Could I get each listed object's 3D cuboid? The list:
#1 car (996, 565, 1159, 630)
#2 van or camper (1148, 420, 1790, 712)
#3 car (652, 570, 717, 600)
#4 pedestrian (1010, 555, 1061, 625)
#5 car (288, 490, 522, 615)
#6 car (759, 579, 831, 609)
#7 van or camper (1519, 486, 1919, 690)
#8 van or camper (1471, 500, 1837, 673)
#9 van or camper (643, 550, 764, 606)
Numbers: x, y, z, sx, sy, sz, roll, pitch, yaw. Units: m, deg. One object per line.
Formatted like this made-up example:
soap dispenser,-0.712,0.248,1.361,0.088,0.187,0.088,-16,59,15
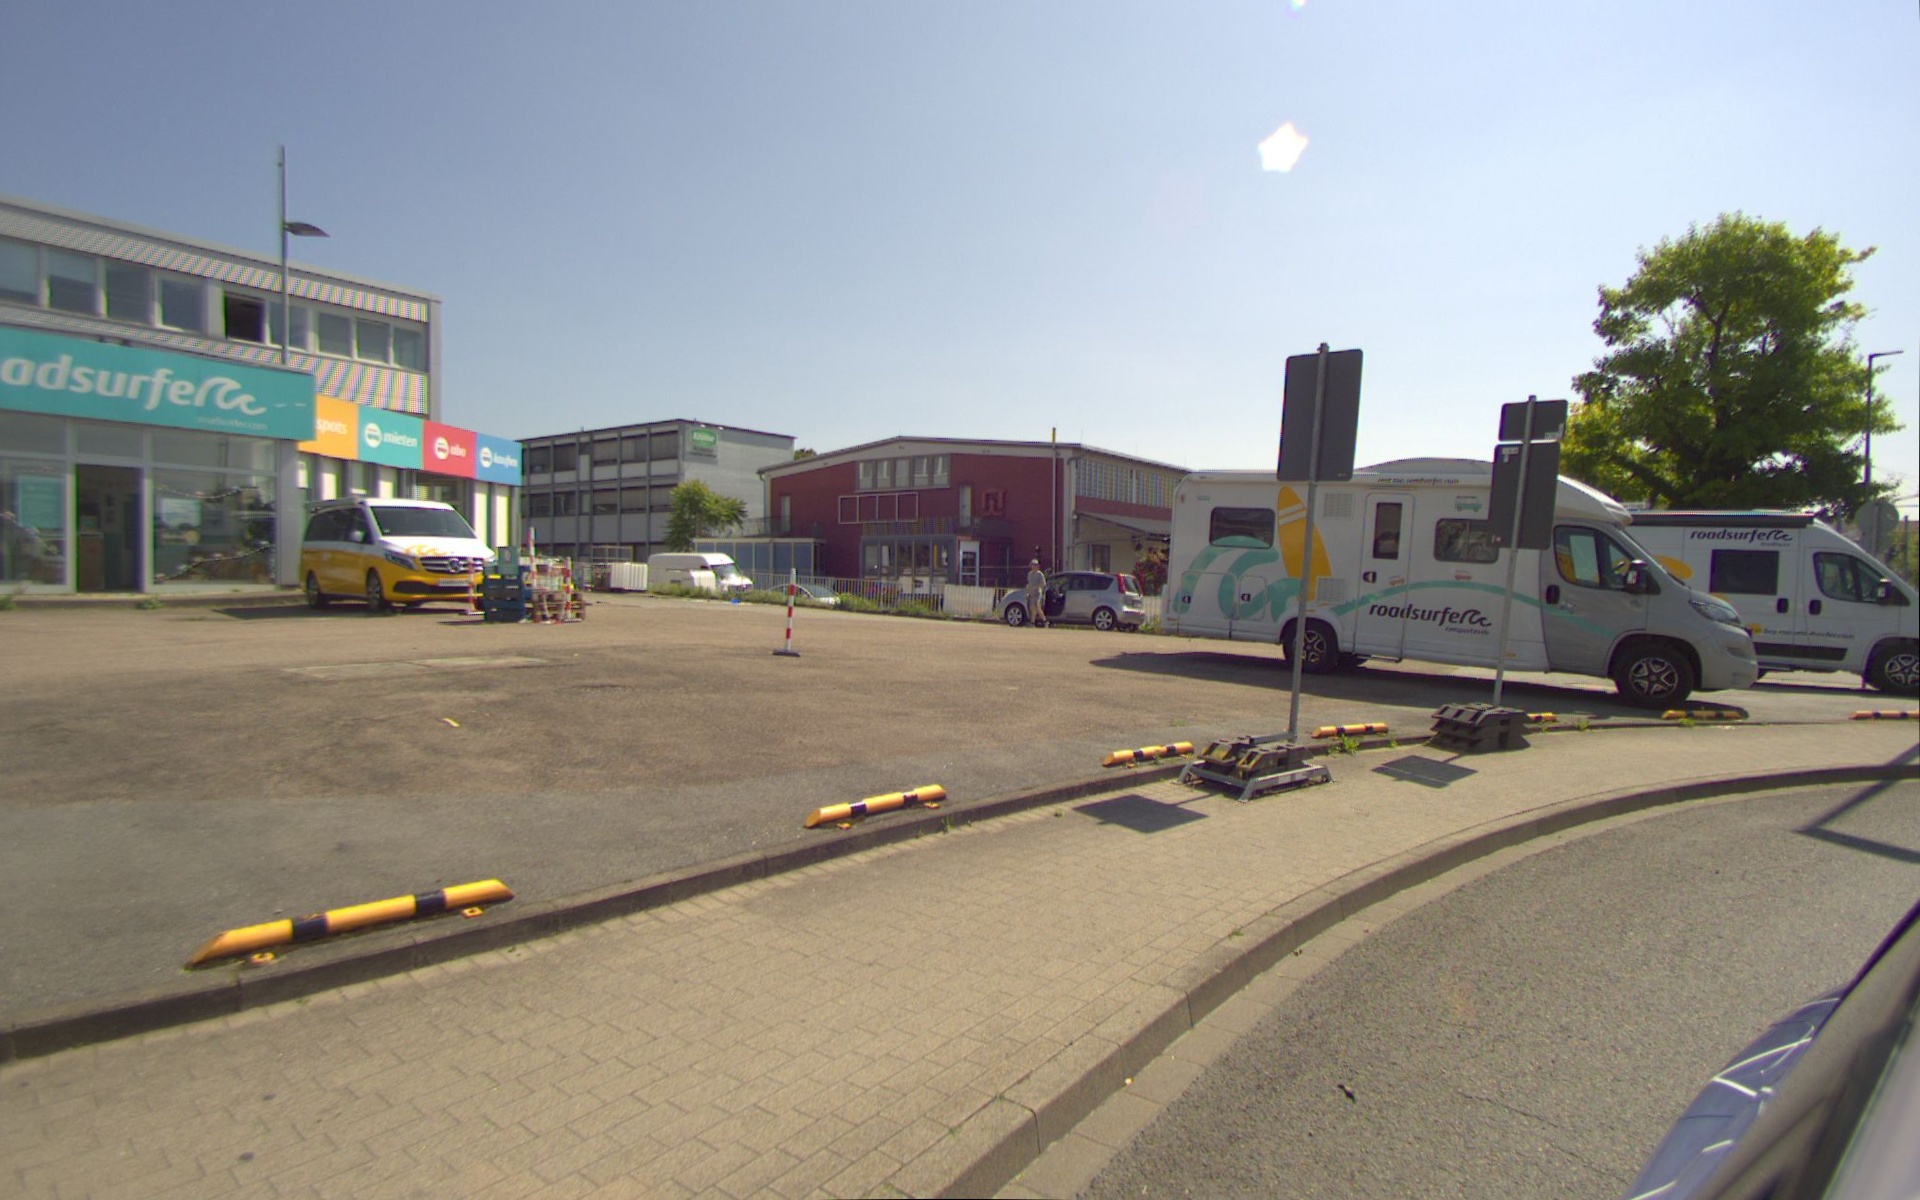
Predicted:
car,3.067,-0.072,26.629,3.867,1.535,1.795,2,-1,33
van or camper,6.250,-0.548,13.392,7.044,2.982,2.305,4,3,36
car,-11.992,-0.667,44.032,2.921,1.265,1.208,2,2,37
pedestrian,1.855,-0.251,24.865,0.930,1.692,0.776,0,1,-43
car,-9.909,-0.839,17.871,5.082,1.900,2.067,3,3,42
car,-6.513,-0.240,39.909,2.841,1.108,1.164,2,2,37
van or camper,12.353,-0.227,16.054,5.801,2.808,2.061,2,1,39
van or camper,12.971,-0.238,19.231,5.499,2.850,2.018,1,-1,40
van or camper,-13.192,-1.125,51.811,6.703,2.713,2.315,1,1,37
